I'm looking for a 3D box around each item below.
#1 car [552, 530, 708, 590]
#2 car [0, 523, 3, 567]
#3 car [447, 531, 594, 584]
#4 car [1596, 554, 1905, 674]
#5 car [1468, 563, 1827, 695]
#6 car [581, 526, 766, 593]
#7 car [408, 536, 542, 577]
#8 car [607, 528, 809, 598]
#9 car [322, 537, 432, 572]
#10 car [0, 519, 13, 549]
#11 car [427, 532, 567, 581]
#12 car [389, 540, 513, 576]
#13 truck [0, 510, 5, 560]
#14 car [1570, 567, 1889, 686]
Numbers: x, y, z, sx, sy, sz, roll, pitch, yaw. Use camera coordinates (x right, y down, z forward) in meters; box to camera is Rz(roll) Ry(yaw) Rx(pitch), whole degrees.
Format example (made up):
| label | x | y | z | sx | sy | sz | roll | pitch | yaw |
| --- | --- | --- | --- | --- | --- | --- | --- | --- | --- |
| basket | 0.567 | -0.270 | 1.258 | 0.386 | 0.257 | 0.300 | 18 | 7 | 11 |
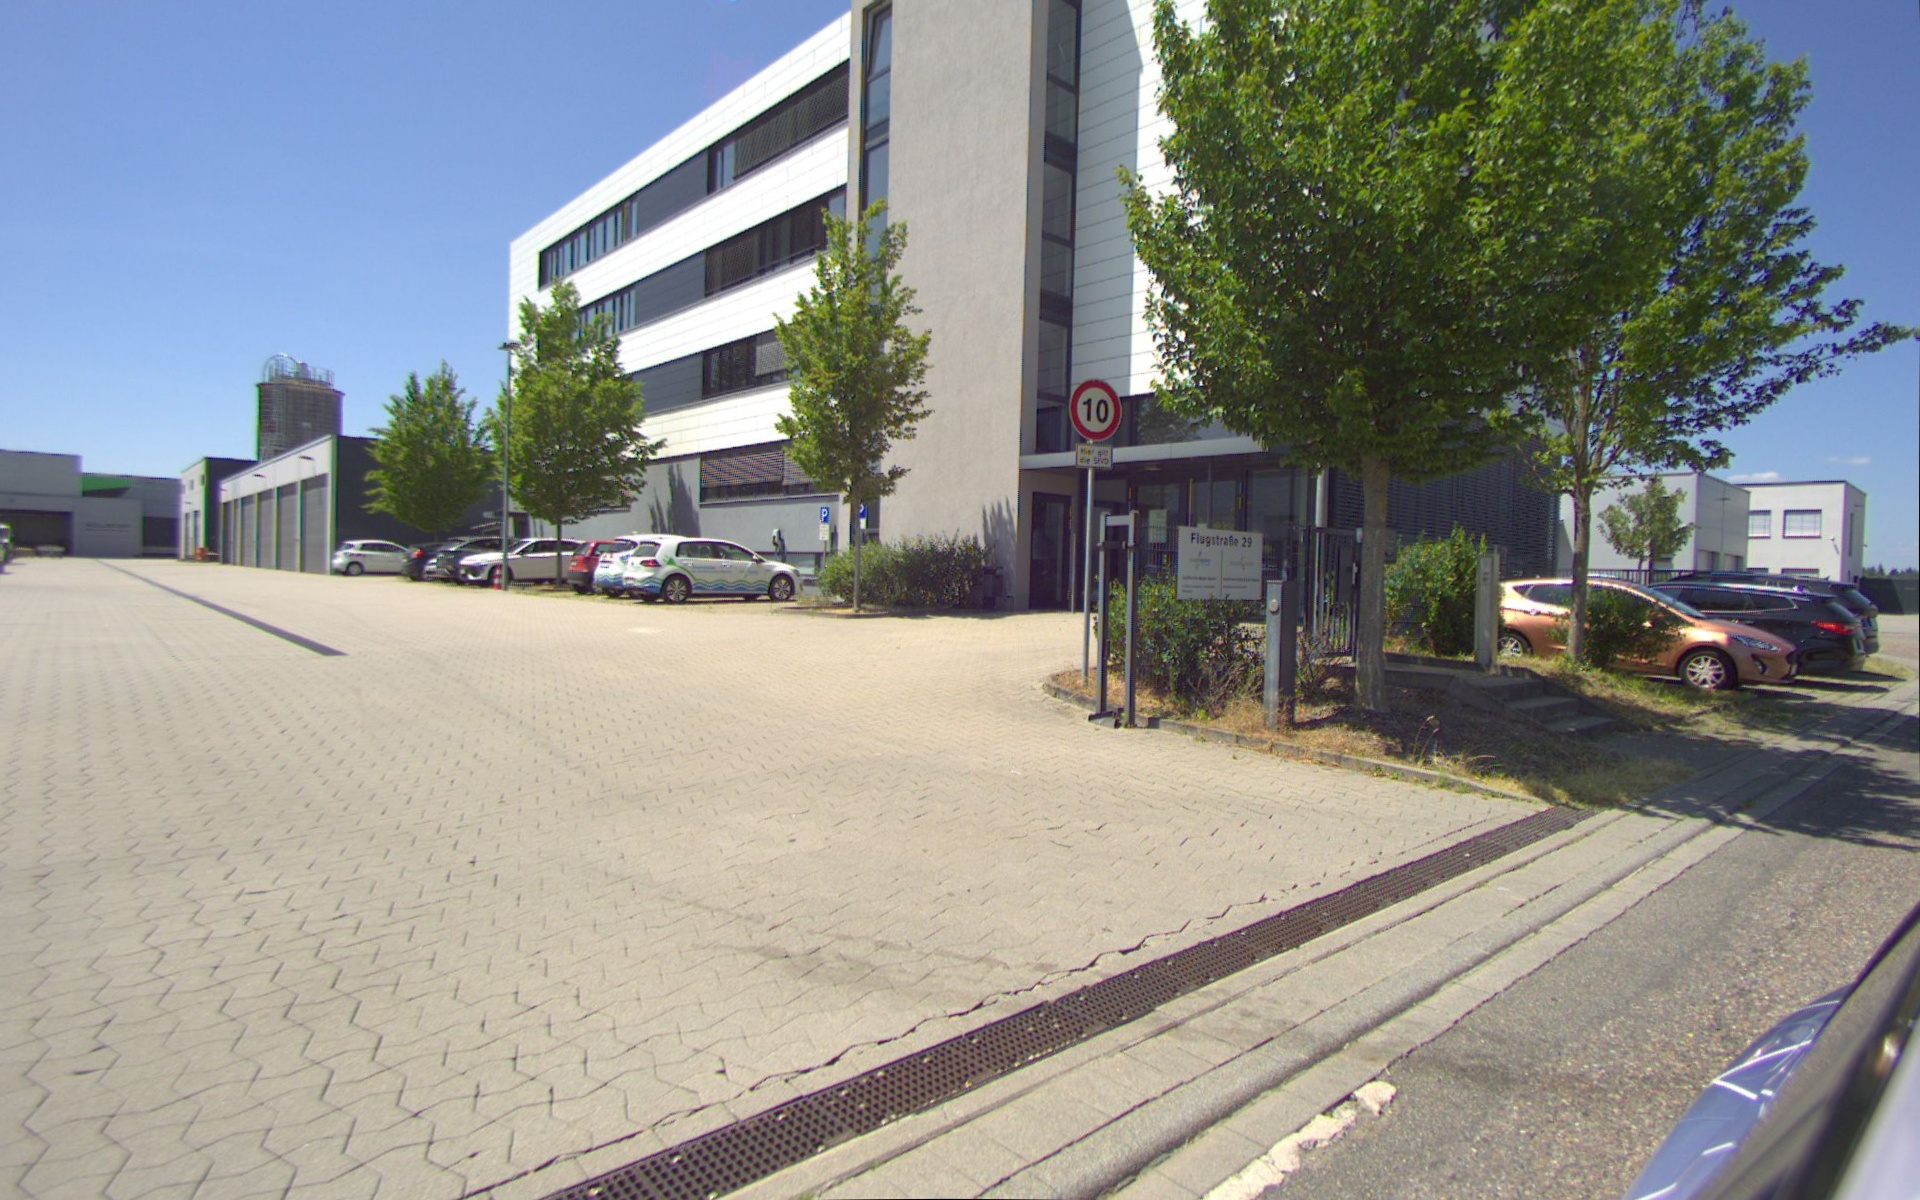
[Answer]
| label | x | y | z | sx | sy | sz | roll | pitch | yaw |
| --- | --- | --- | --- | --- | --- | --- | --- | --- | --- |
| car | -8.969 | -1.087 | 27.587 | 3.718 | 1.513 | 1.619 | -1 | 4 | -39 |
| car | -35.951 | -2.008 | 36.469 | 1.889 | 1.633 | 4.108 | 0 | 3 | -40 |
| car | -13.984 | -1.356 | 32.323 | 4.043 | 1.570 | 1.618 | -1 | 4 | -41 |
| car | 13.998 | 0.151 | 18.131 | 1.693 | 1.787 | 3.999 | 0 | 3 | -38 |
| car | 9.820 | 0.309 | 14.700 | 1.695 | 1.513 | 3.994 | 0 | 3 | -43 |
| car | -7.228 | -1.033 | 25.682 | 4.148 | 1.548 | 1.810 | -1 | 4 | -39 |
| car | -17.319 | -1.560 | 36.238 | 4.043 | 1.374 | 1.618 | -1 | 4 | -41 |
| car | -5.762 | -0.863 | 23.352 | 4.148 | 1.478 | 1.810 | -1 | 4 | -39 |
| car | -25.770 | -2.007 | 44.808 | 3.971 | 1.480 | 1.685 | -1 | 4 | -41 |
| car | -55.422 | -3.802 | 57.673 | 1.889 | 1.716 | 4.108 | 0 | 3 | -40 |
| car | -15.590 | -1.462 | 34.191 | 4.043 | 1.570 | 1.618 | -1 | 4 | -41 |
| car | -19.032 | -1.562 | 37.930 | 3.899 | 1.277 | 1.618 | -1 | 4 | -41 |
| truck | -51.228 | -3.437 | 52.715 | 1.965 | 2.588 | 5.231 | 0 | 3 | -41 |
| car | 12.039 | 0.320 | 15.996 | 1.752 | 1.513 | 3.718 | 0 | 4 | -43 |
